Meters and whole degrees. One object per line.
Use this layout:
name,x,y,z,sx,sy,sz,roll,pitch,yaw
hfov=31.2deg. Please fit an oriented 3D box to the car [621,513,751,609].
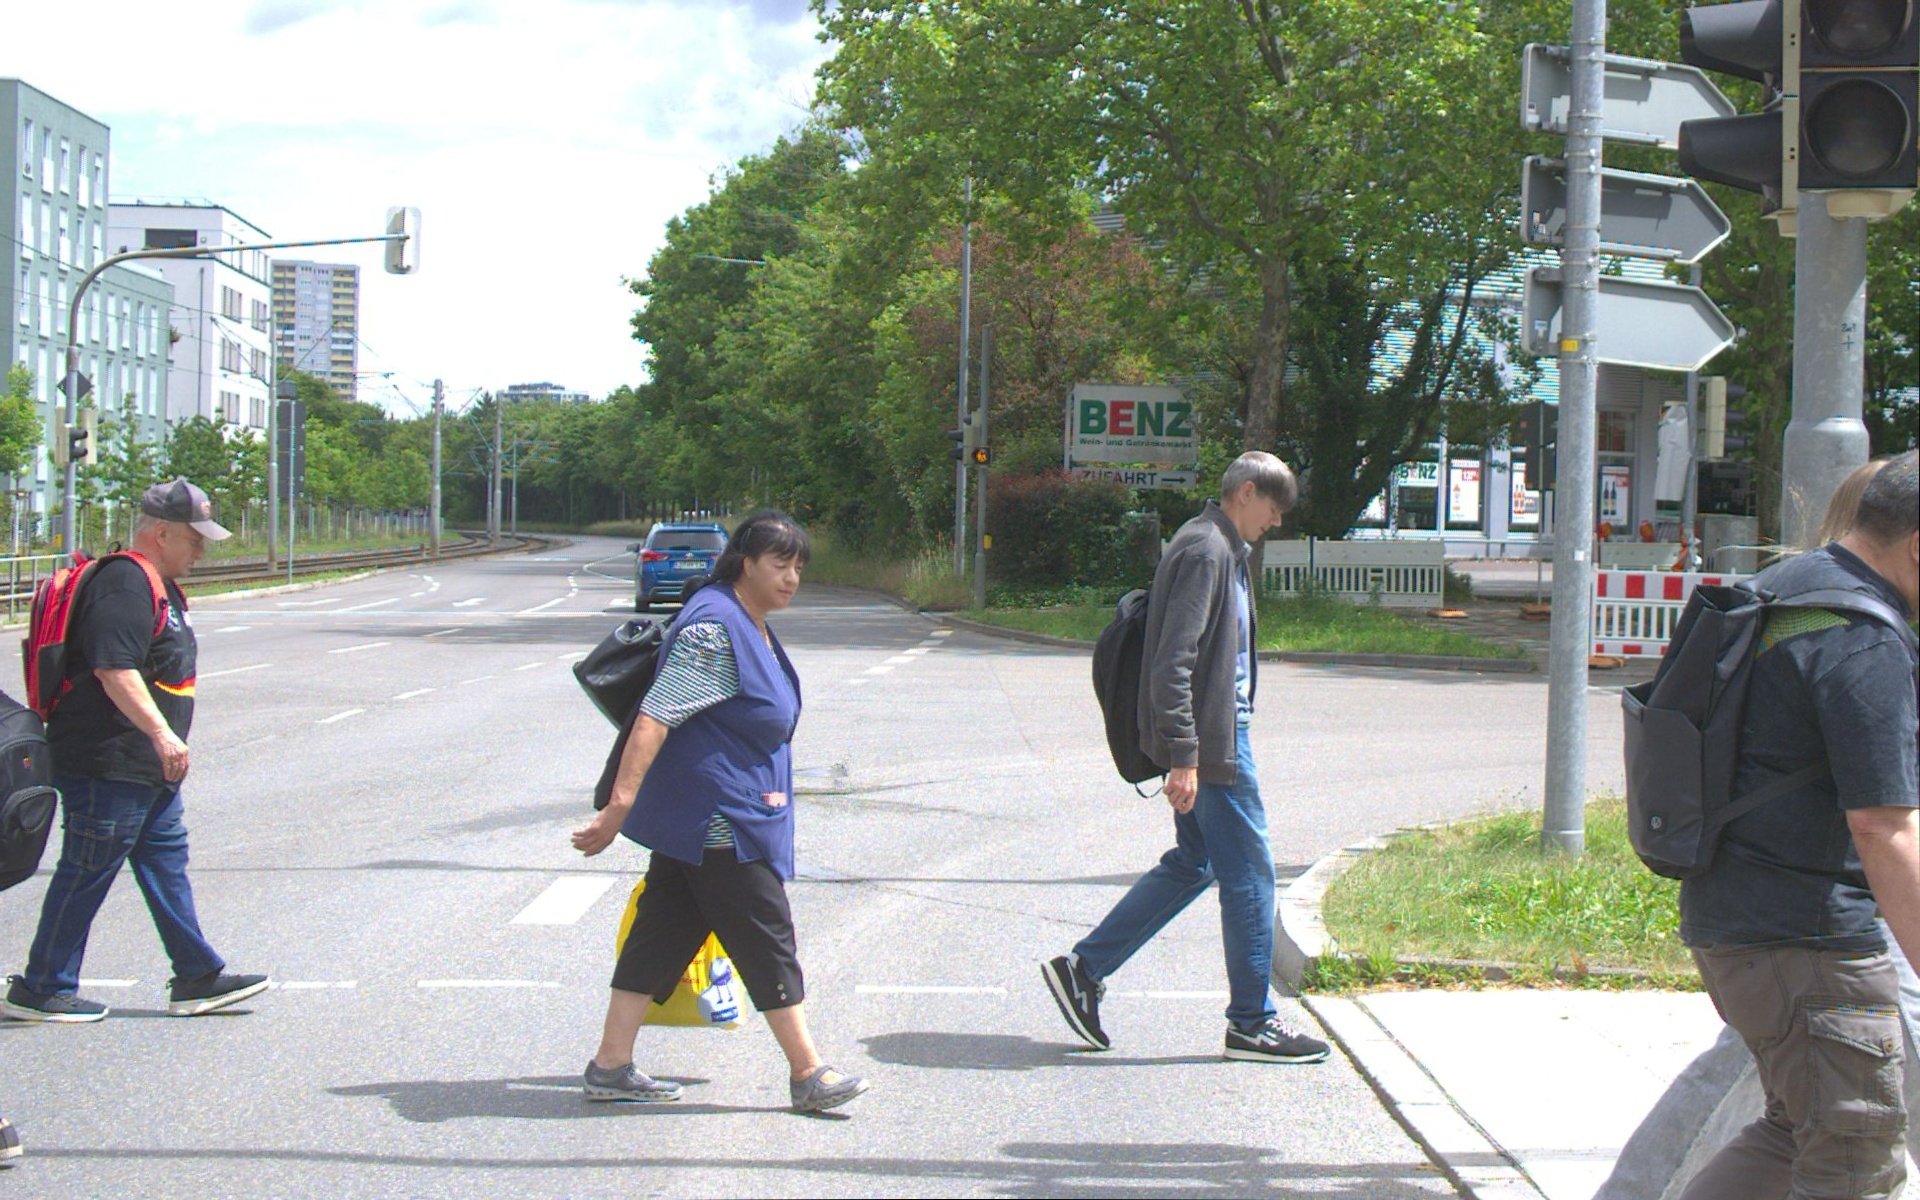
car,-4.494,-0.670,55.941,1.982,1.481,4.492,0,1,-6

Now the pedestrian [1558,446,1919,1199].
pedestrian,1.717,0.544,6.511,1.021,1.642,0.929,1,1,2

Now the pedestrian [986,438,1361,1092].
pedestrian,0.629,0.436,9.829,1.003,1.767,0.929,1,1,7

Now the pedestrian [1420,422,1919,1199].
pedestrian,1.264,0.560,5.372,0.958,1.642,0.880,1,1,0

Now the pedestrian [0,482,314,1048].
pedestrian,-2.428,0.454,10.139,0.892,1.591,0.908,0,1,-2

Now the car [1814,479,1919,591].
car,17.744,-1.182,62.561,1.993,2.007,4.000,0,2,-32

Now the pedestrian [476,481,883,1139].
pedestrian,-0.701,0.503,8.893,0.912,1.601,0.929,1,1,4

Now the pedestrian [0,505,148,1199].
pedestrian,-2.393,0.554,7.853,0.946,1.547,0.843,0,1,-6
